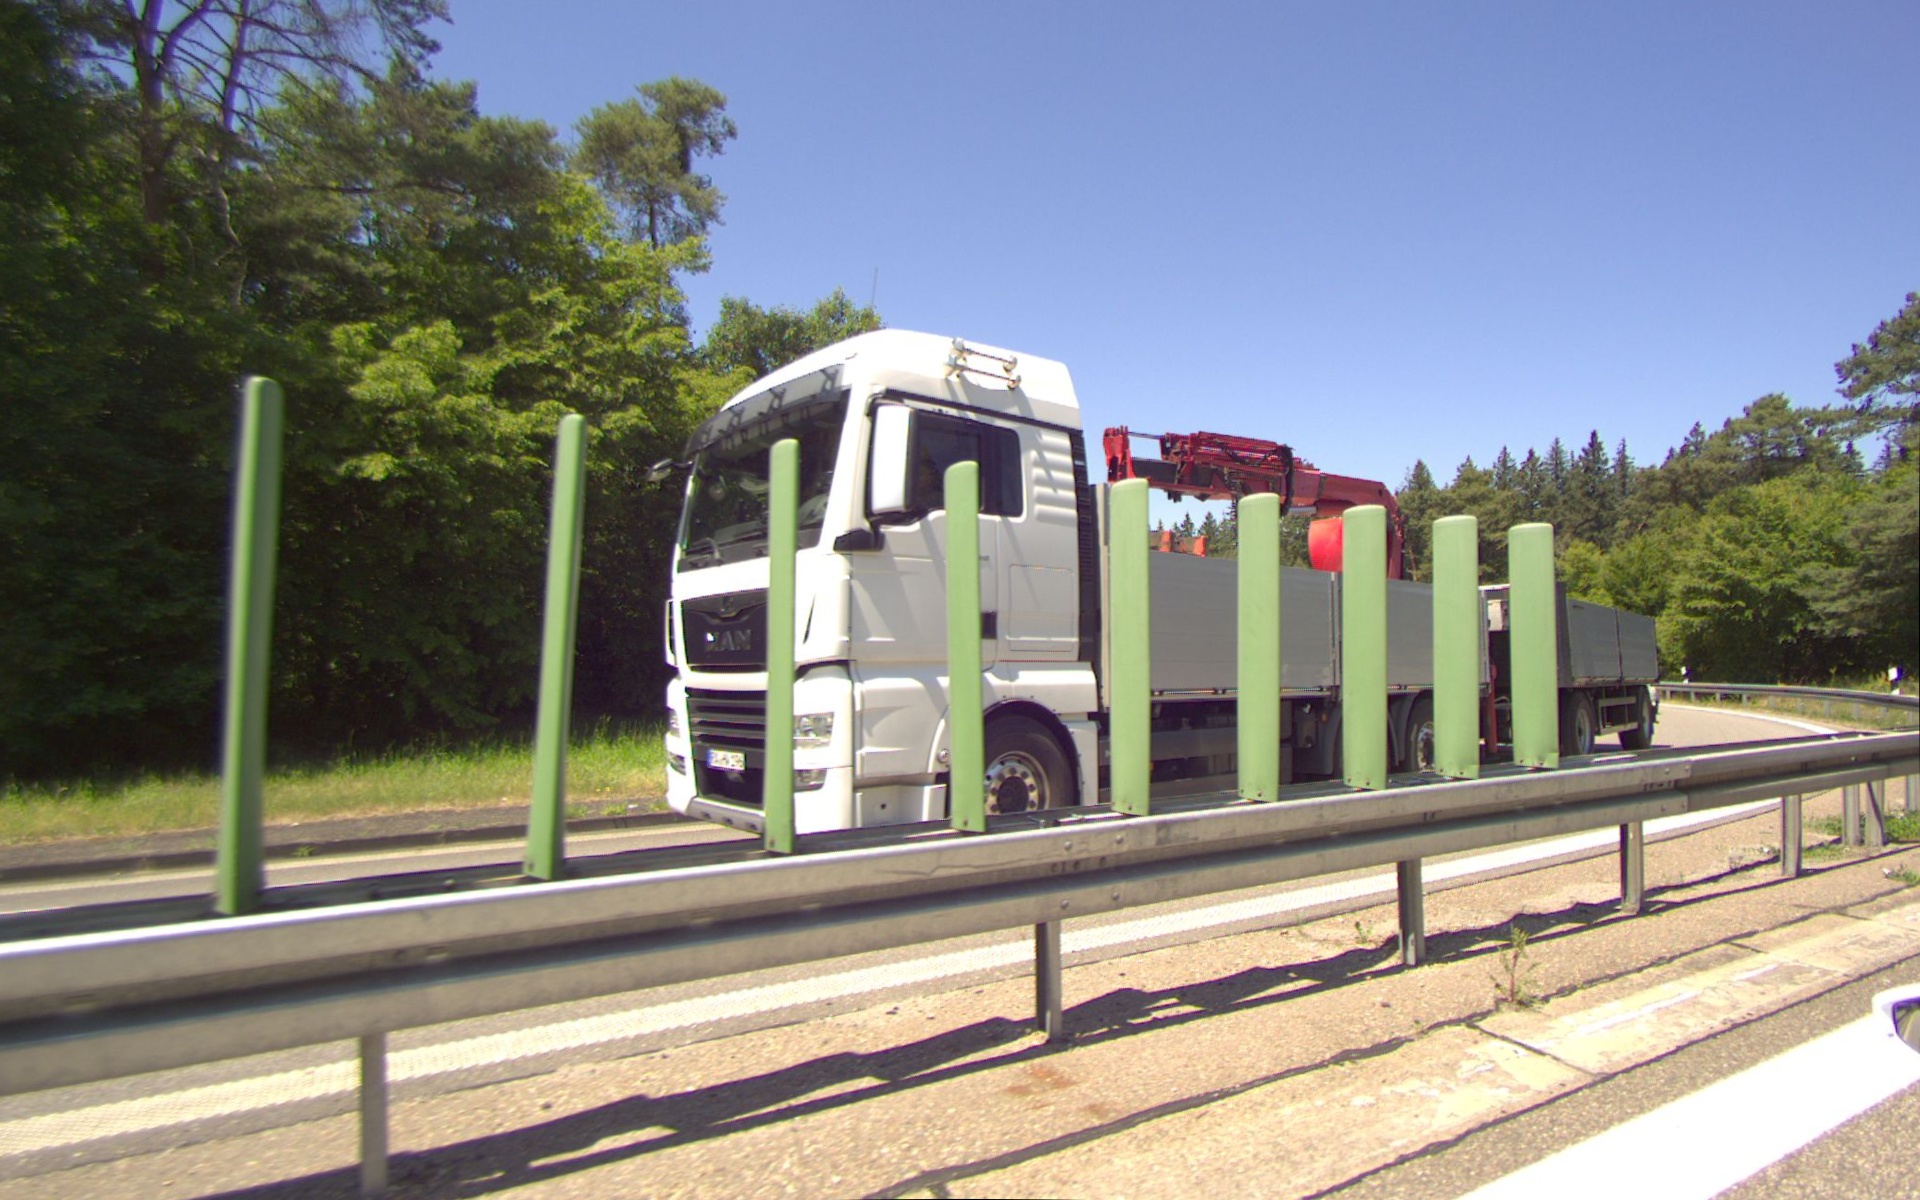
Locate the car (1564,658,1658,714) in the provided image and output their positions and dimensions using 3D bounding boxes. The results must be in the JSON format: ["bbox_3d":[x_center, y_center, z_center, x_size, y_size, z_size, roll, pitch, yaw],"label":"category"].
[{"bbox_3d":[21.057,2.741,32.675,1.963,1.661,5.266,-2,-4,27],"label":"car"}]
